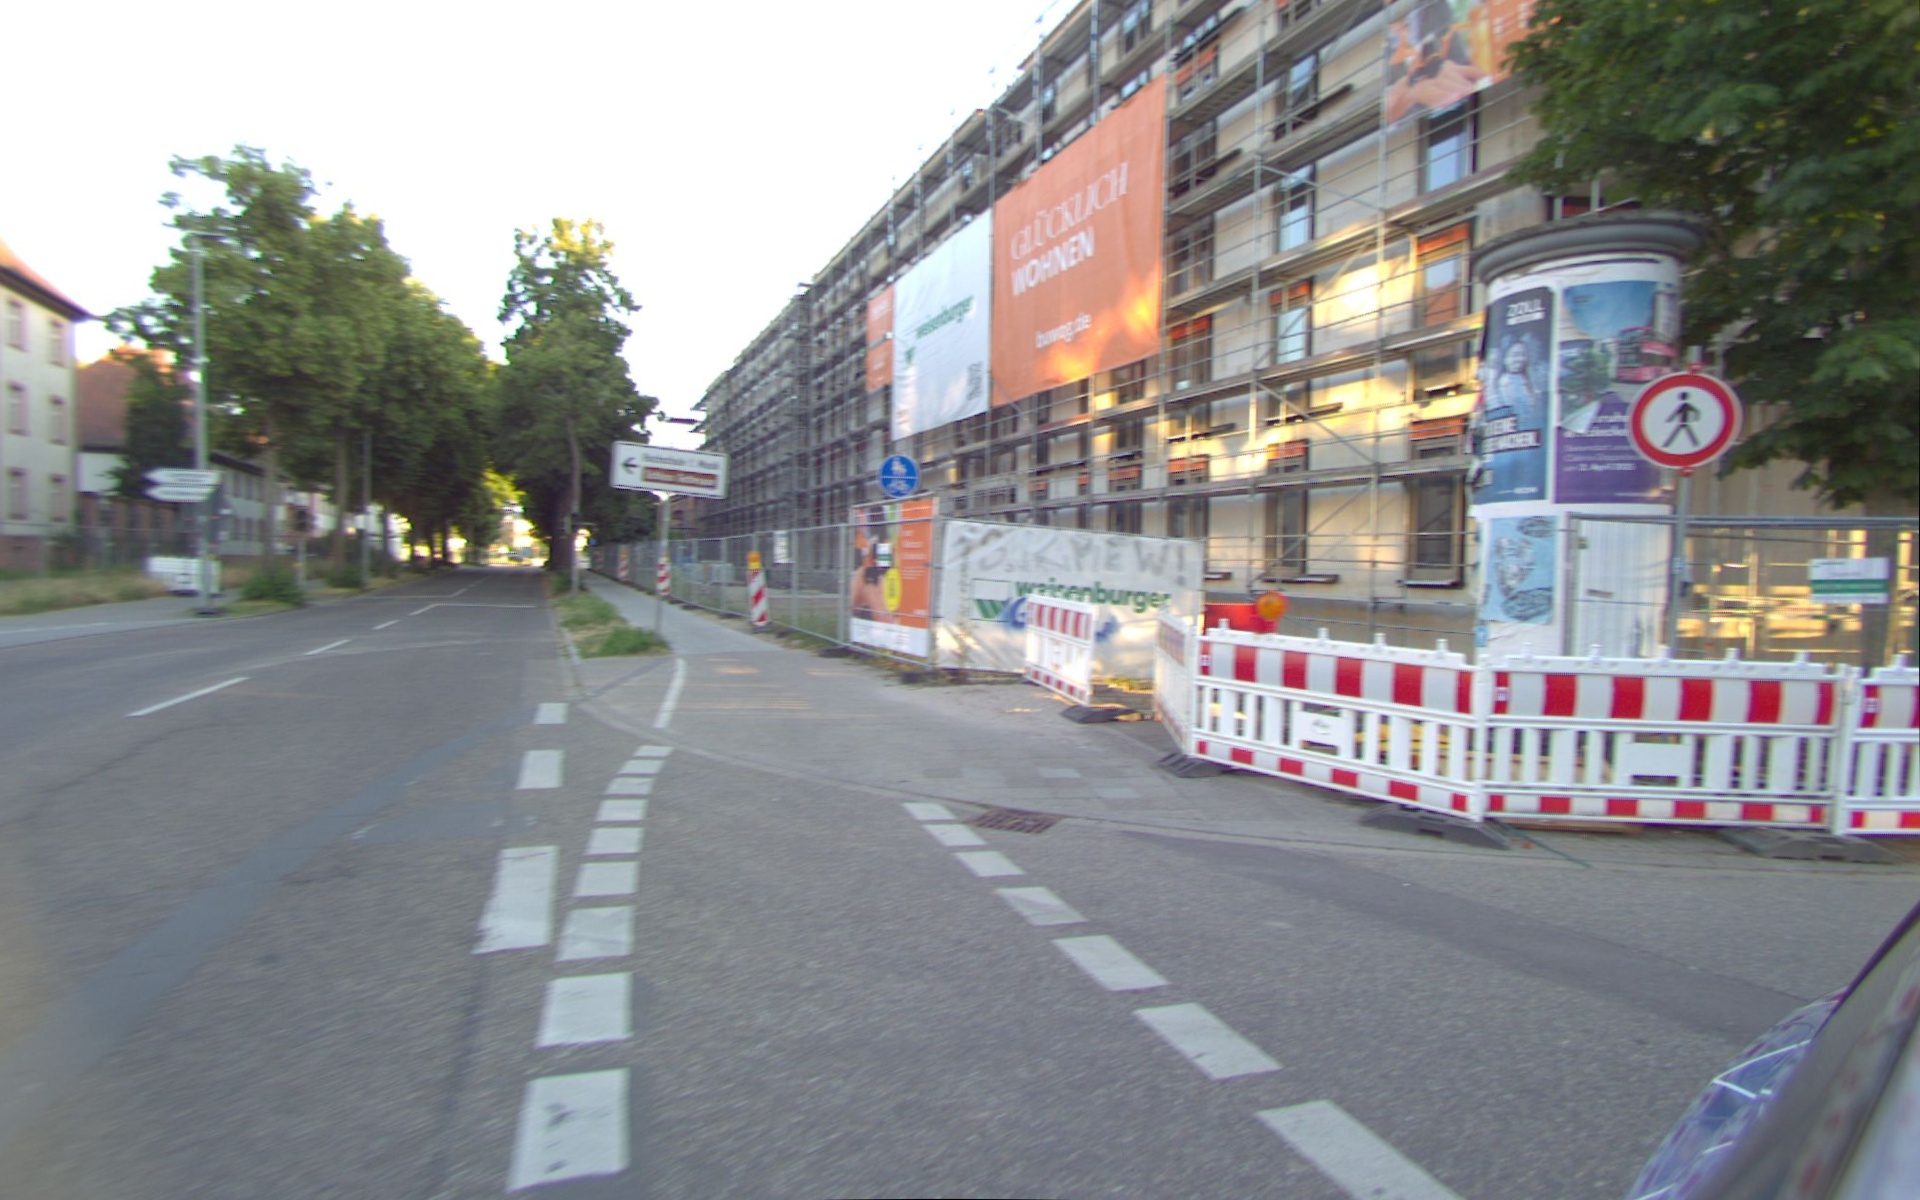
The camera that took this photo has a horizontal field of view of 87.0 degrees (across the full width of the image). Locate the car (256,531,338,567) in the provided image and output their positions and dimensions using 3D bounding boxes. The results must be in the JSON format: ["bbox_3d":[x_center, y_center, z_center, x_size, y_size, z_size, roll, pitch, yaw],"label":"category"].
[{"bbox_3d":[-39.853,-3.067,60.957,3.918,2.038,2.004,0,2,-27],"label":"car"}]
